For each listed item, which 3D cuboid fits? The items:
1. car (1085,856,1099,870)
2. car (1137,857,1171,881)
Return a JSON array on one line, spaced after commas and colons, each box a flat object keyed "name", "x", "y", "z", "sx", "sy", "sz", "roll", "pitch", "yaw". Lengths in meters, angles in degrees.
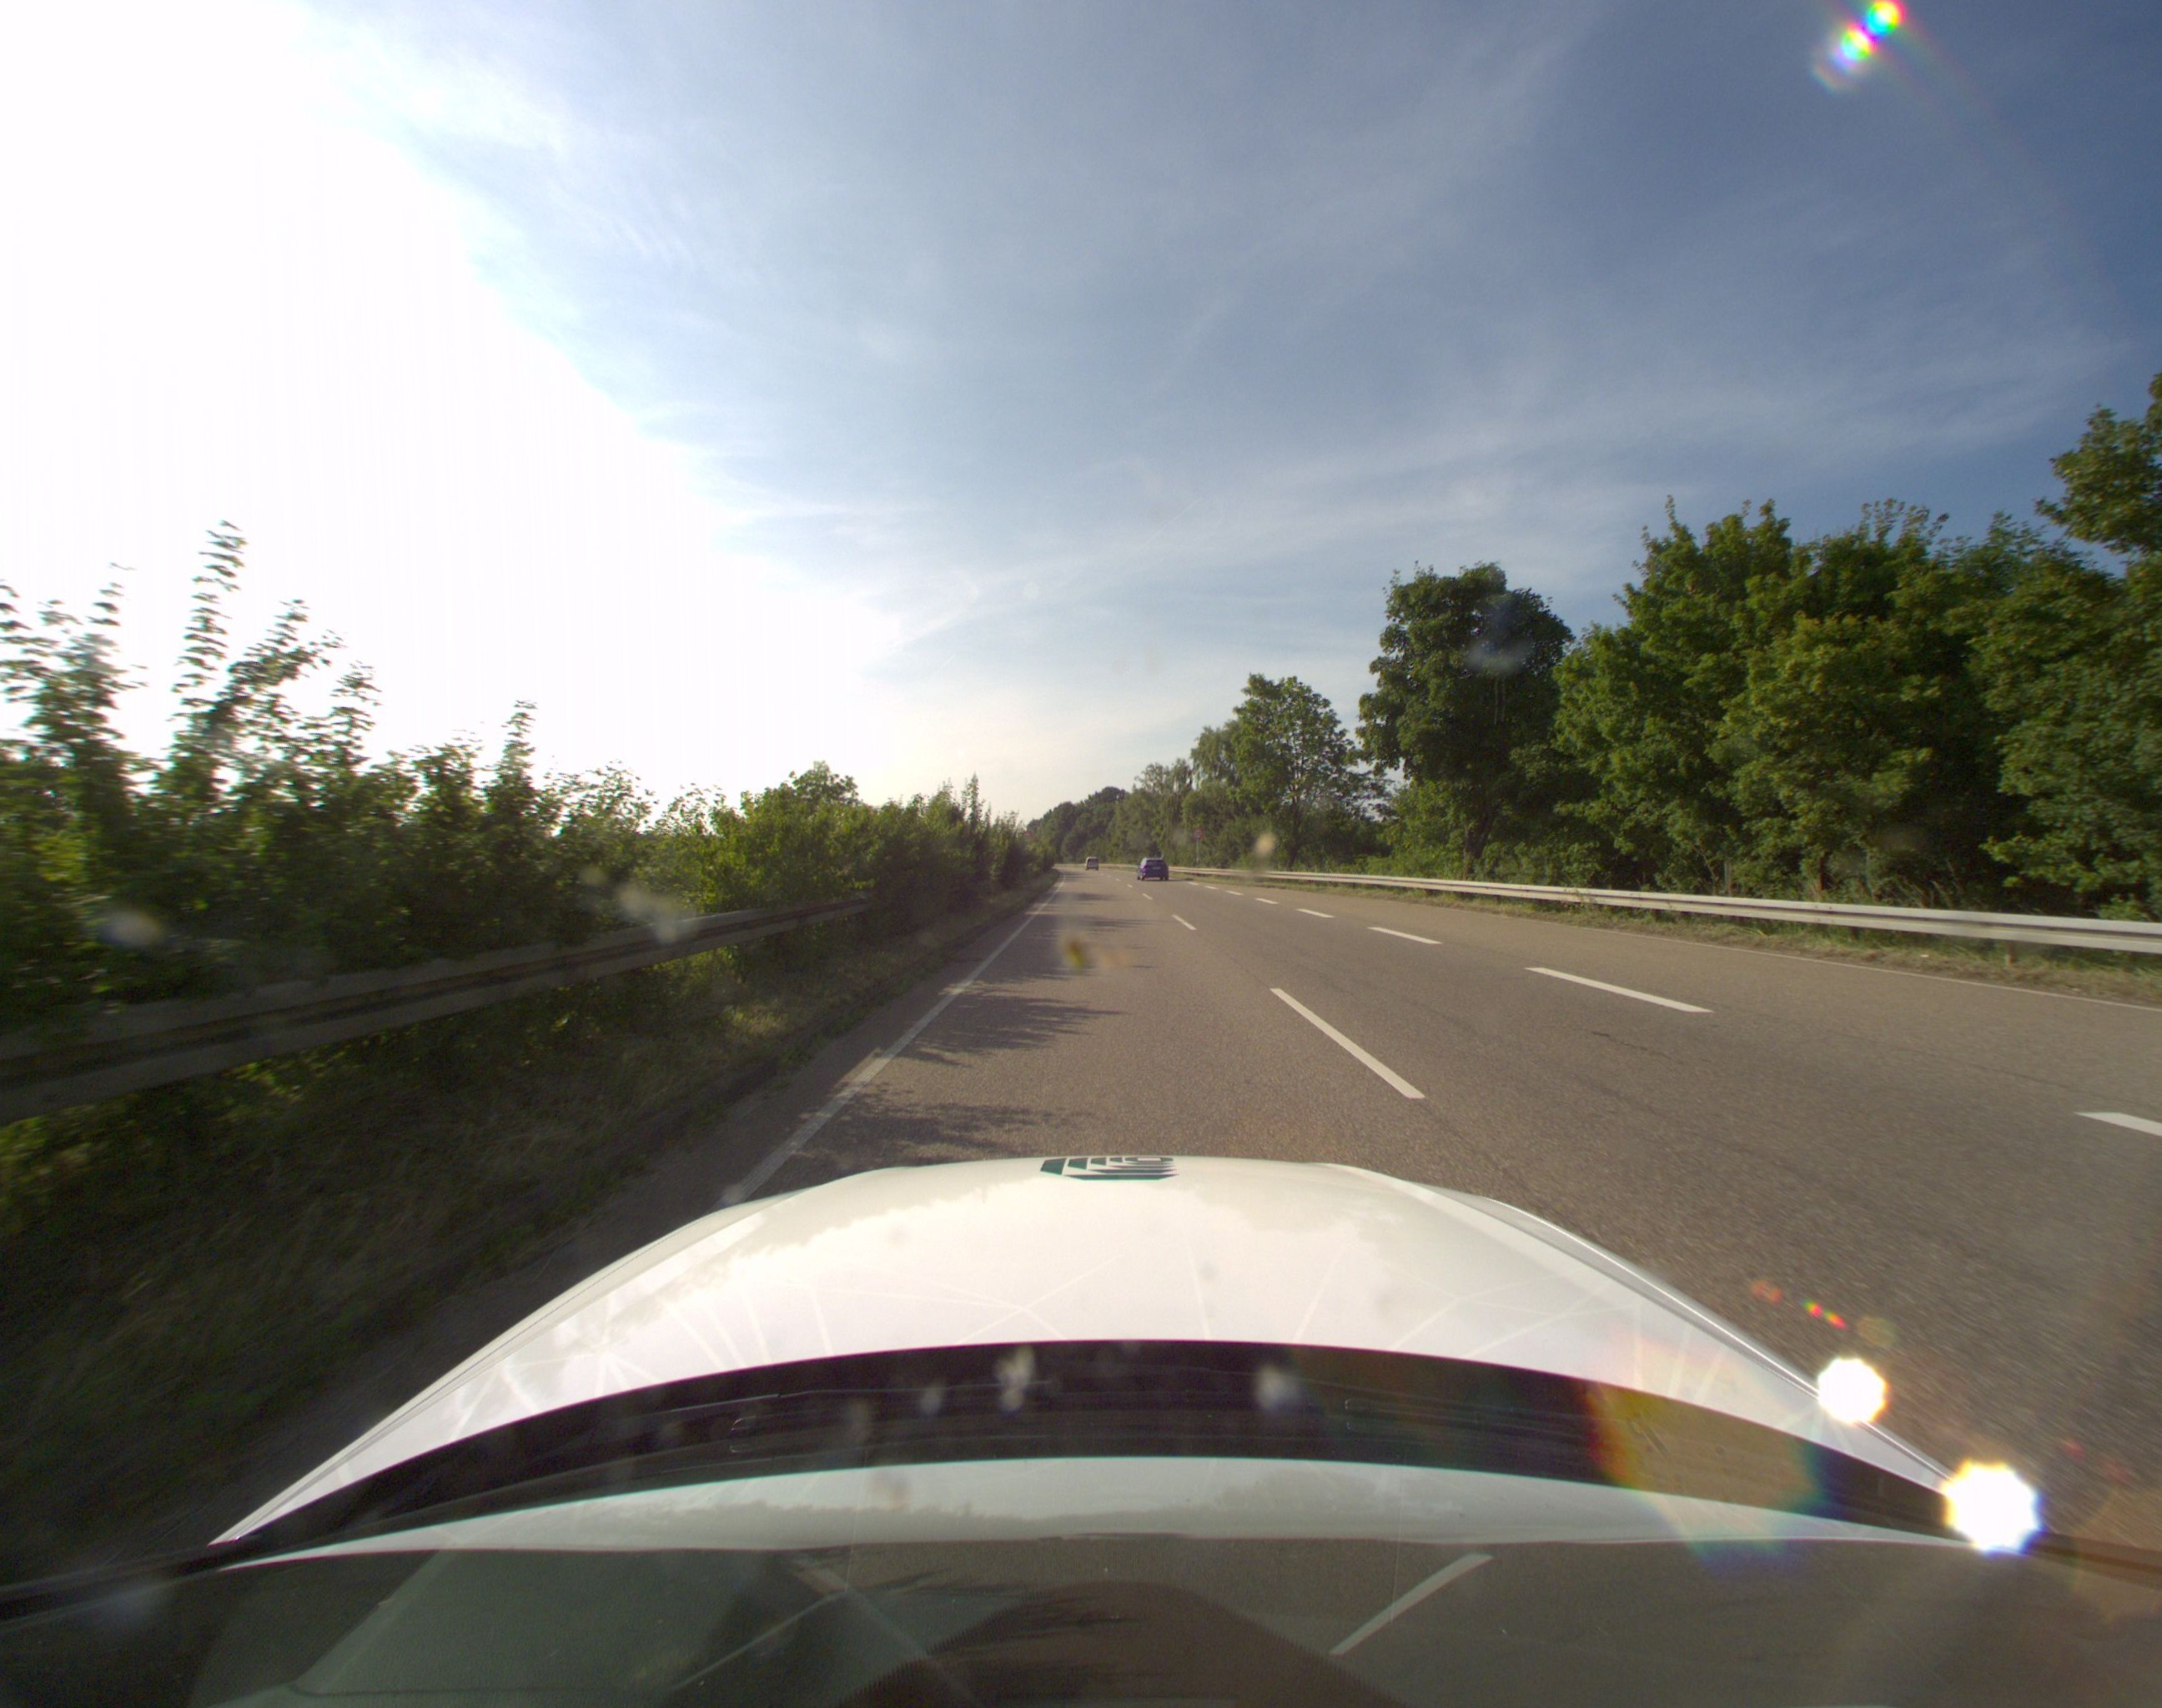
[{"name": "car", "x": 1.503, "y": 1.268, "z": 112.263, "sx": 1.761, "sy": 1.882, "sz": 3.997, "roll": -1, "pitch": 0, "yaw": -2}, {"name": "car", "x": 4.657, "y": 0.942, "z": 52.496, "sx": 1.773, "sy": 1.451, "sz": 3.999, "roll": -1, "pitch": -1, "yaw": 0}]
